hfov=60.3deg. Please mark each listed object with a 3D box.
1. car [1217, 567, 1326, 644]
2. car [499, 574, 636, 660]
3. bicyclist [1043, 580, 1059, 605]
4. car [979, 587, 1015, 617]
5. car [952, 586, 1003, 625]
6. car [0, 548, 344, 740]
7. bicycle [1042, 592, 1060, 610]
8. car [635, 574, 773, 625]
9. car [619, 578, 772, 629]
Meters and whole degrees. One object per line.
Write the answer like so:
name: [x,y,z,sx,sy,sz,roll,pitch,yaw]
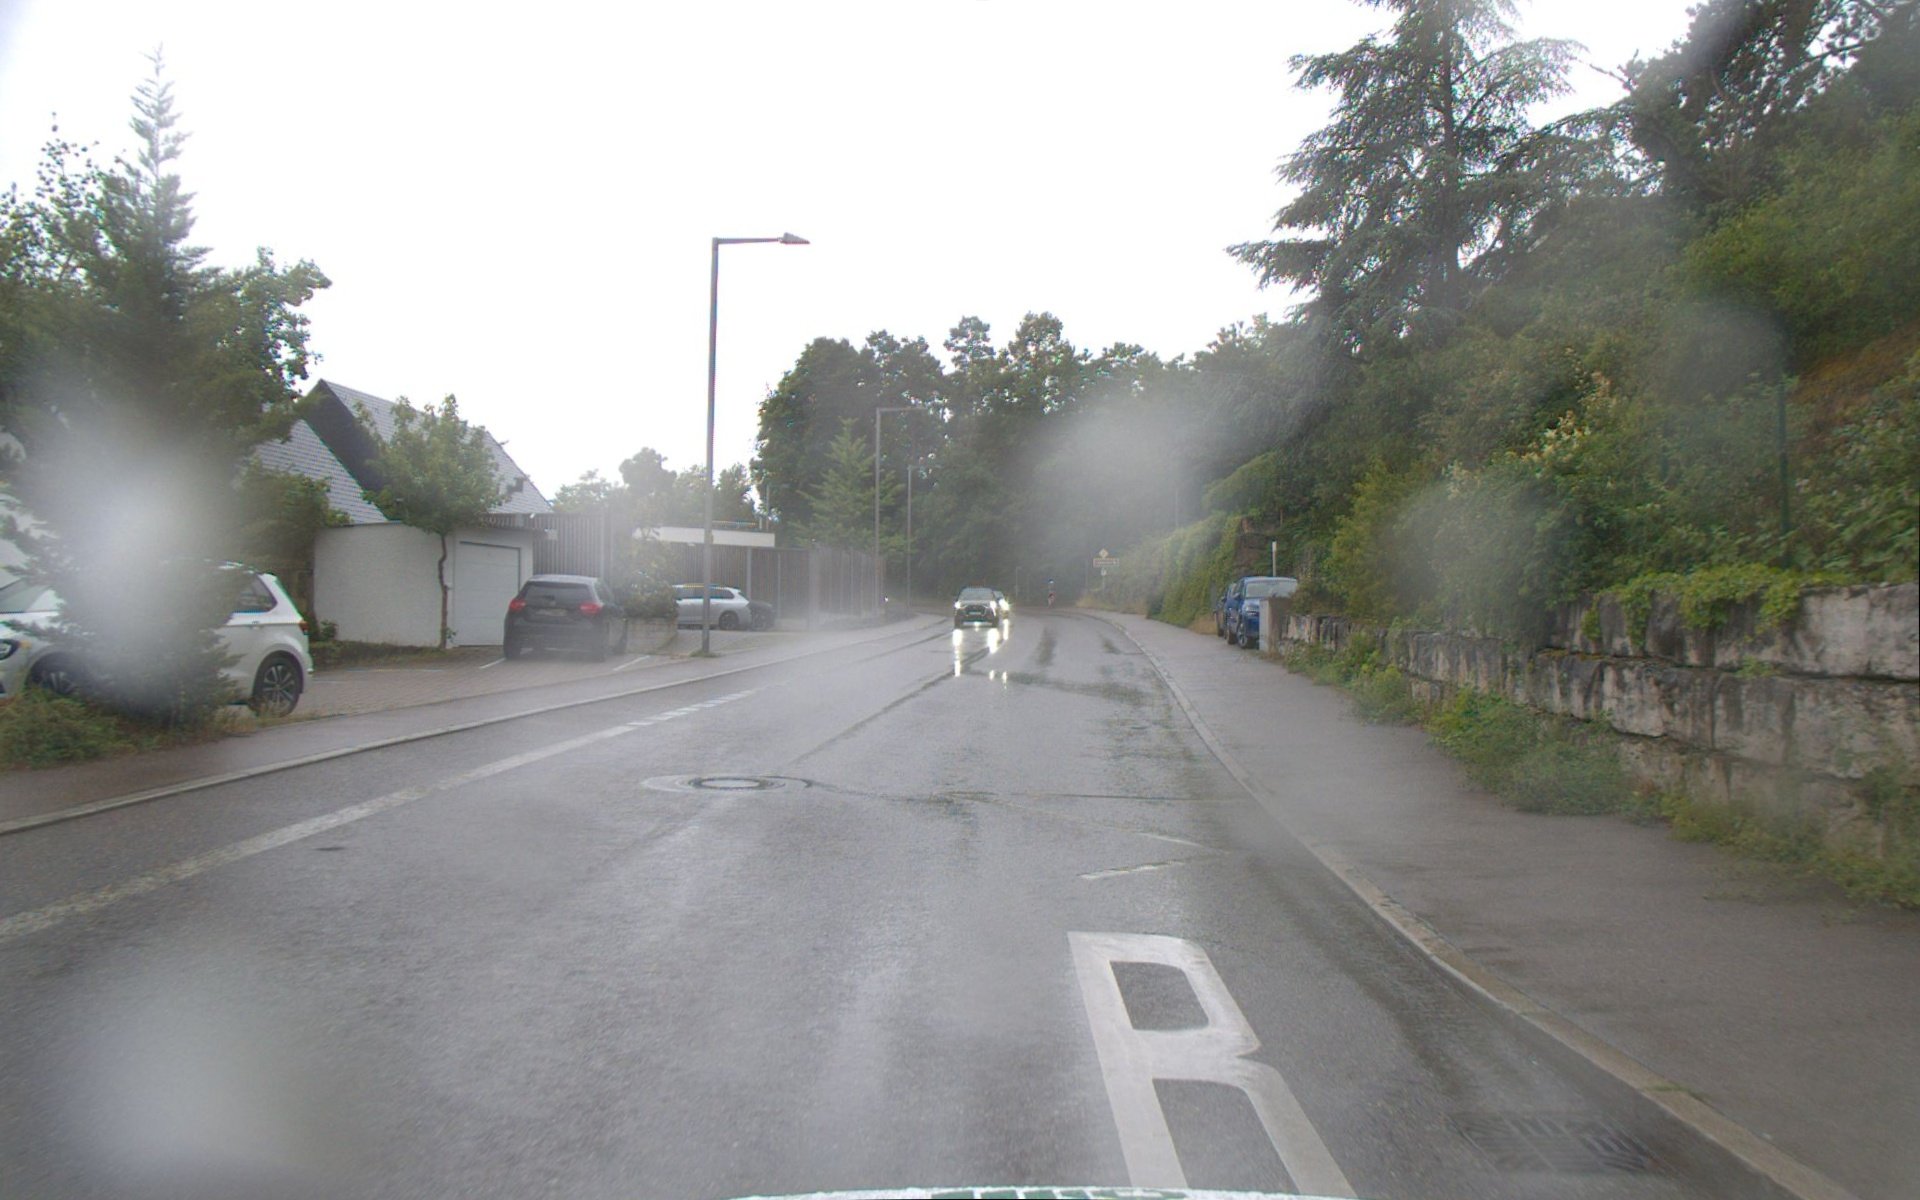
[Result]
car: [7.575,0.114,40.600,1.952,1.699,4.546,-2,0,3]
car: [-7.099,0.265,30.322,1.798,1.430,4.256,1,1,-5]
bicyclist: [5.869,-0.479,106.695,0.709,1.643,0.900,1,0,-20]
car: [1.880,0.076,84.993,1.809,1.486,4.268,1,0,1]
car: [0.732,0.187,66.863,1.812,1.495,3.701,1,0,4]
car: [-8.044,0.345,15.796,1.669,1.580,4.391,1,0,18]
bicycle: [5.865,0.046,106.672,0.519,1.104,1.612,1,0,-19]
car: [-8.607,-0.017,55.716,4.235,1.628,1.819,1,0,-31]
car: [-8.396,0.127,52.652,4.481,1.467,1.740,2,0,-35]
